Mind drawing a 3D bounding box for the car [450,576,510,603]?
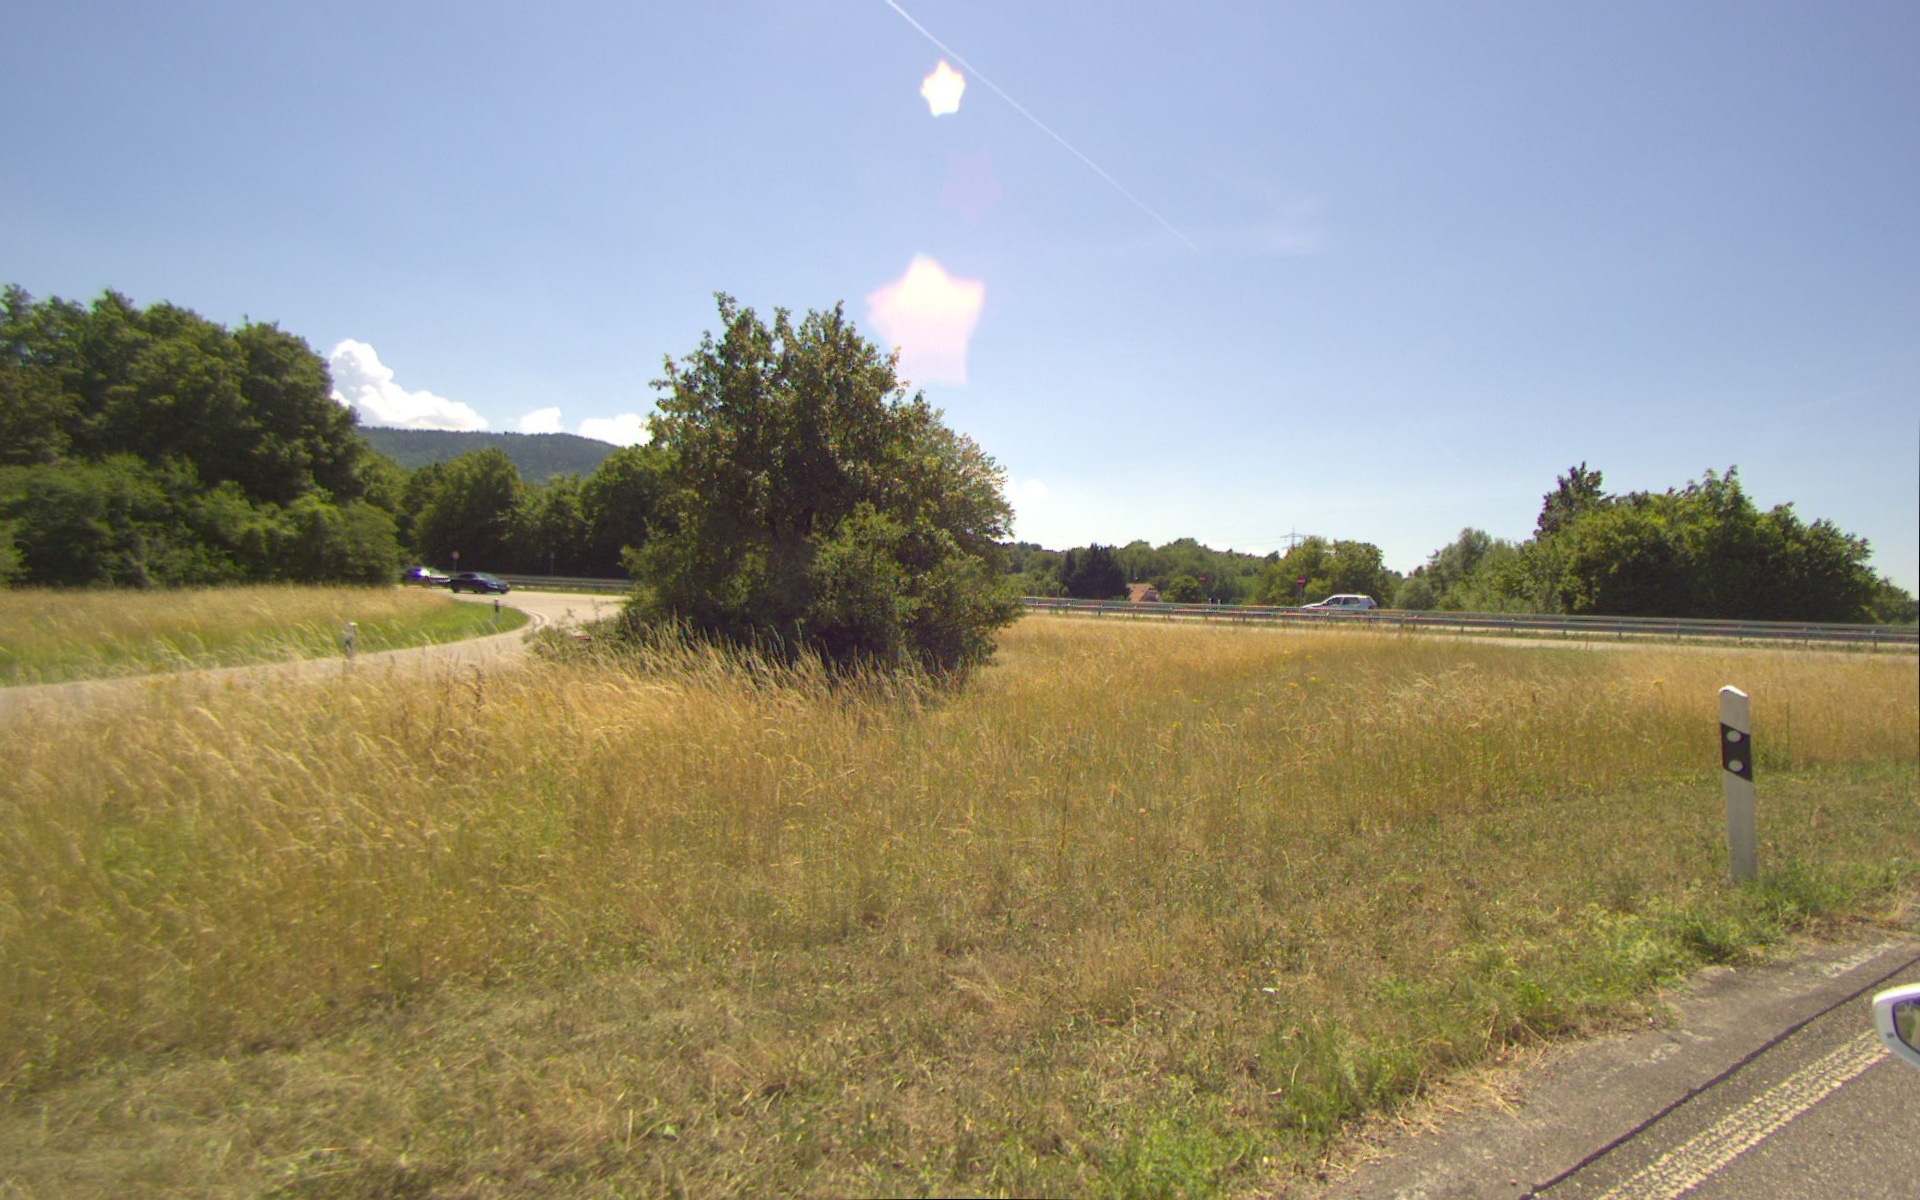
[{"bbox_3d":[-33.363,-0.745,69.810,3.932,1.706,1.994,3,1,34],"label":"car"}]

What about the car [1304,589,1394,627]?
[{"bbox_3d":[20.982,0.434,54.188,4.152,1.813,1.995,3,1,32],"label":"car"}]

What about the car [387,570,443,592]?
[{"bbox_3d":[-42.249,-1.491,77.907,3.940,1.517,1.820,3,1,25],"label":"car"}]
